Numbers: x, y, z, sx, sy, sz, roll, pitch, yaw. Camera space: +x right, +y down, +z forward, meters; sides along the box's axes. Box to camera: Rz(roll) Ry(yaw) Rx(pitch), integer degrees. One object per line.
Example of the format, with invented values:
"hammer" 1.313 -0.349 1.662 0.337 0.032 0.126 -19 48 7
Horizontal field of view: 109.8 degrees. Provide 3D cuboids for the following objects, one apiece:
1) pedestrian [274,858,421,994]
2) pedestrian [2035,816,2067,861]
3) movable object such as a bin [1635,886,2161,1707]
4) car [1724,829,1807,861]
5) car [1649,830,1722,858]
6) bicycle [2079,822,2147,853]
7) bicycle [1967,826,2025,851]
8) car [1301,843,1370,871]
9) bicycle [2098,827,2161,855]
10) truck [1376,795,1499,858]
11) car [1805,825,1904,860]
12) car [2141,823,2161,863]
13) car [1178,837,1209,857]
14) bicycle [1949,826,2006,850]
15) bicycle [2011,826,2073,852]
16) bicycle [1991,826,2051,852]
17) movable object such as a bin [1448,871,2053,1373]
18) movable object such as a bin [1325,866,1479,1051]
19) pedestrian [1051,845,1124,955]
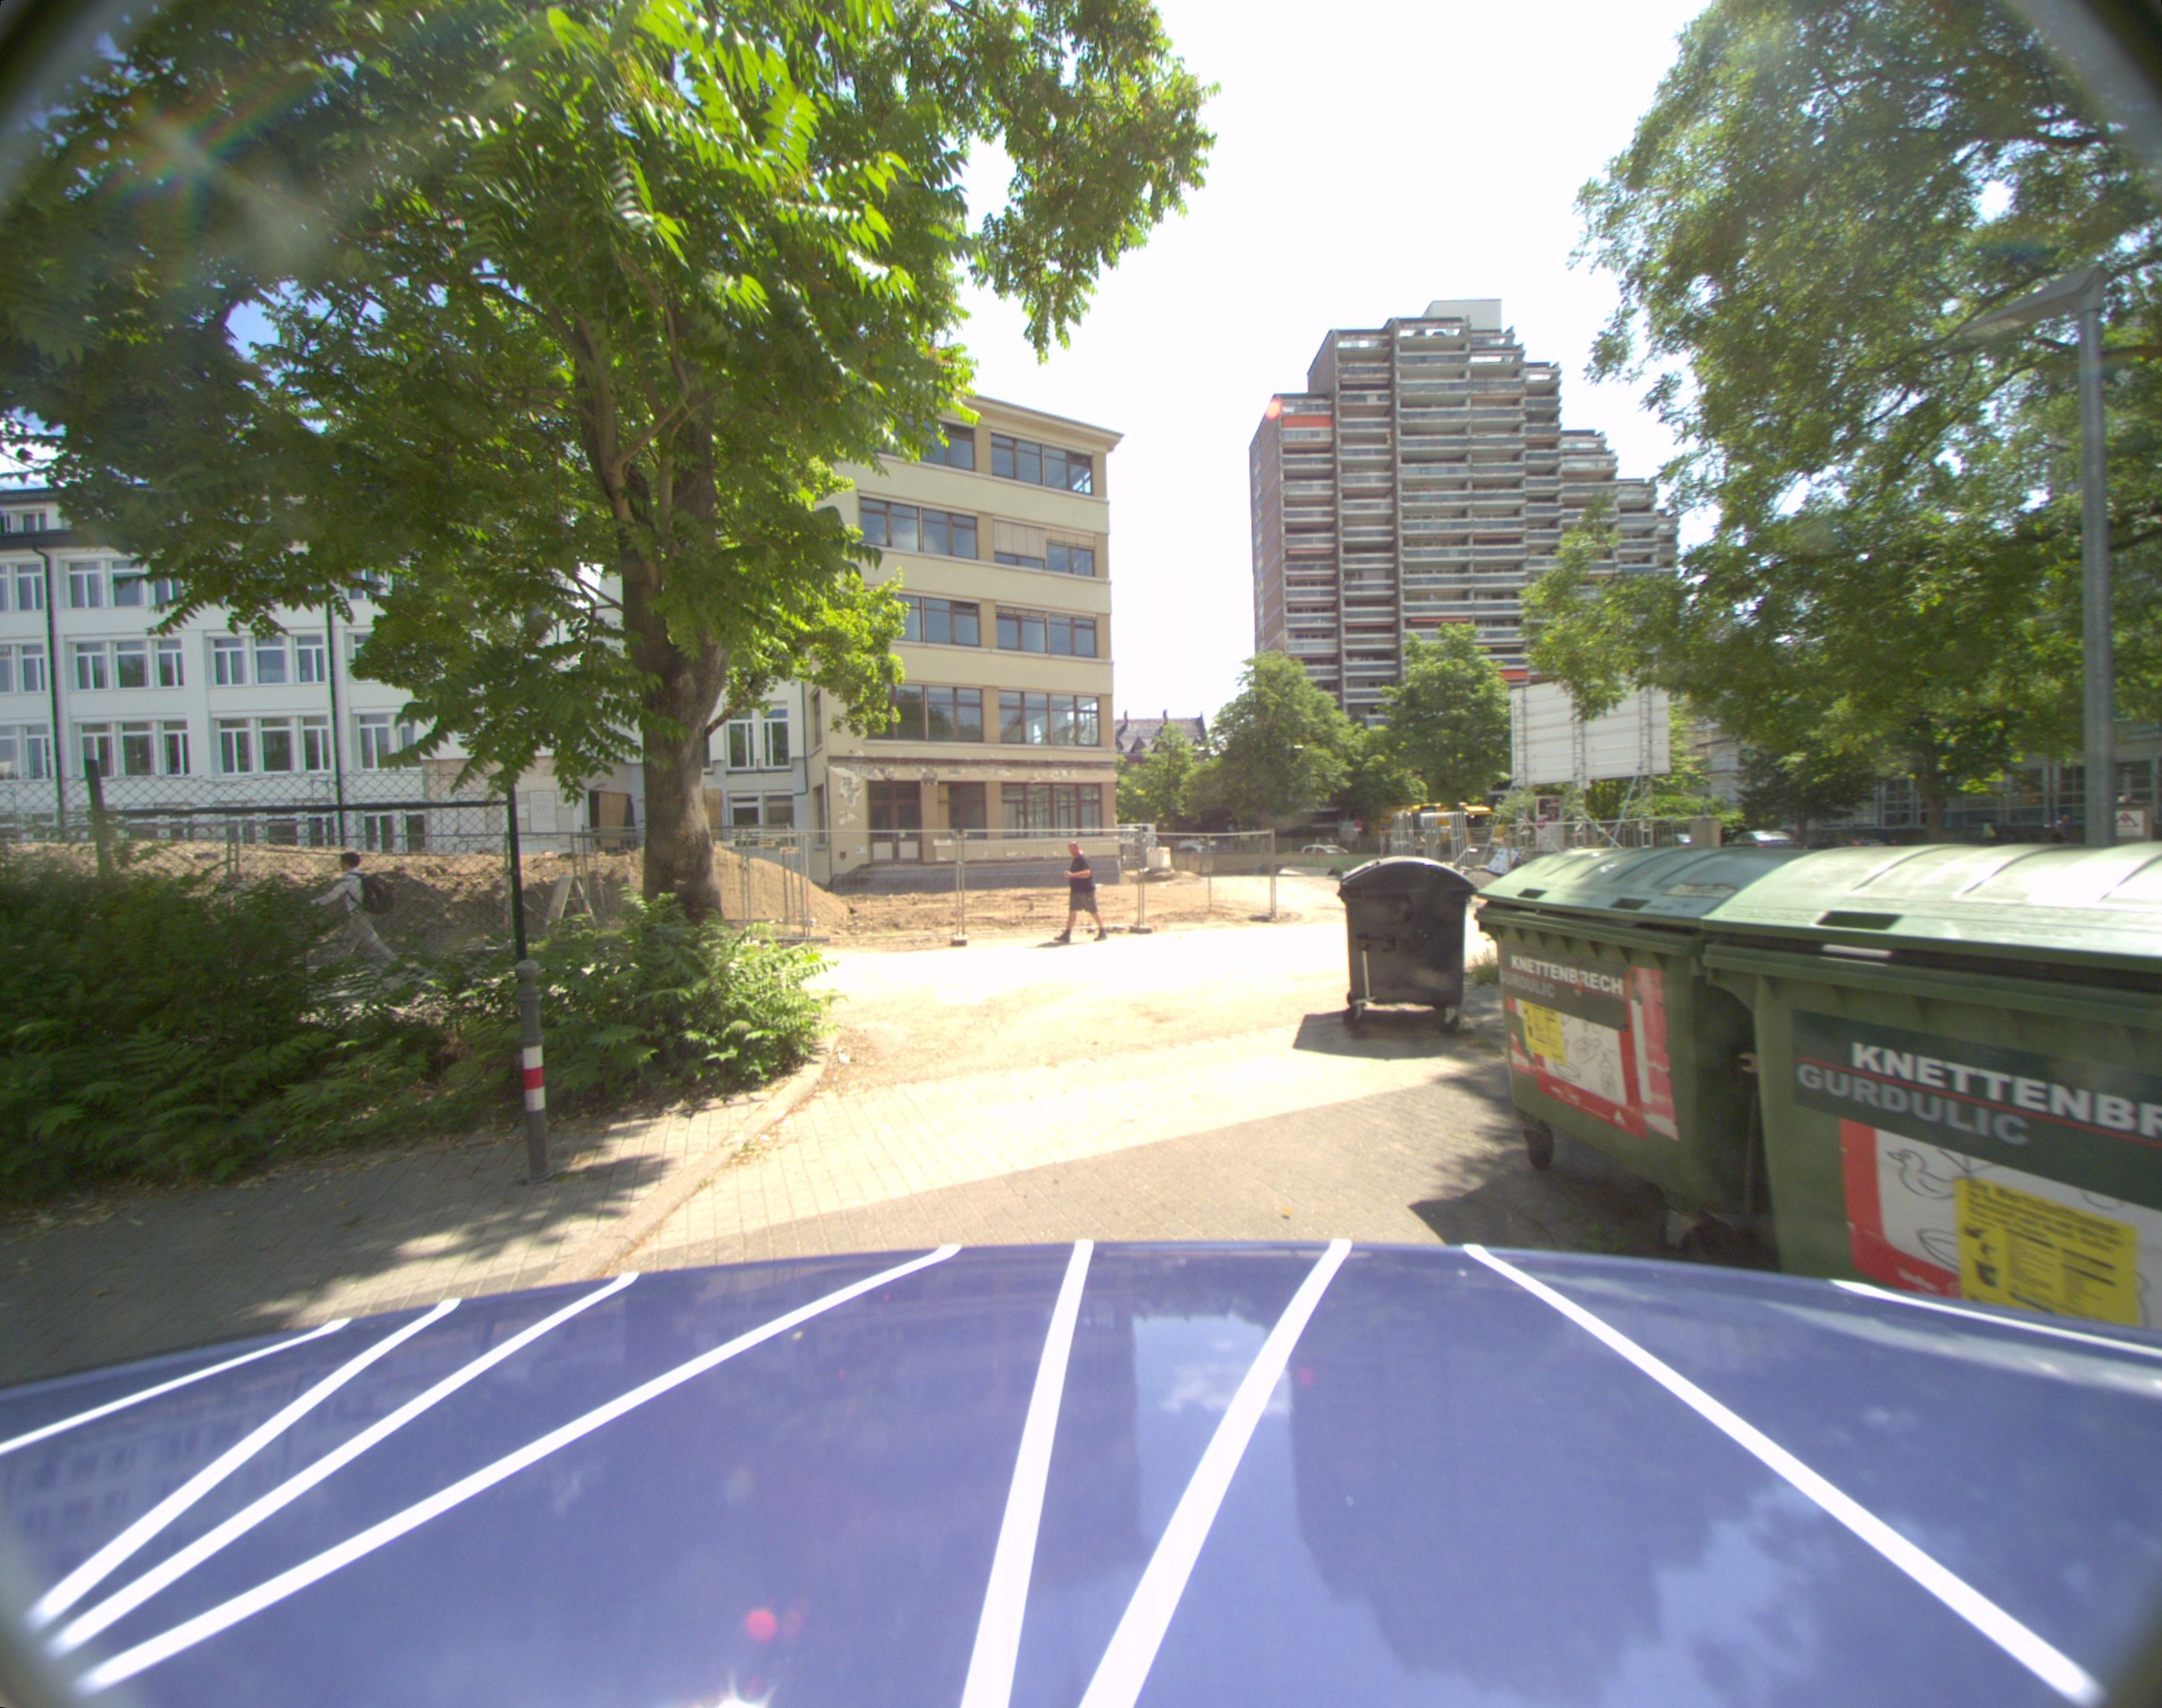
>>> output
"pedestrian" -9.882 0.929 10.289 1.080 1.719 0.876 -1 1 -10
"pedestrian" 40.490 -0.657 31.728 0.716 1.864 0.577 -2 2 -14
"movable object such as a bin" 2.281 0.858 1.653 1.096 1.471 1.359 -1 1 -10
"car" 33.721 -0.479 37.565 1.815 1.454 4.028 -1 1 23
"car" 32.178 -0.549 40.591 1.627 1.365 4.027 -1 1 16
"bicycle" 43.725 -0.683 32.201 1.942 1.230 0.568 -2 1 4
"bicycle" 43.265 -0.730 35.930 1.942 1.124 0.568 -1 1 4
"car" 13.998 0.155 41.904 1.624 1.431 3.576 -2 1 -23
"bicycle" 43.633 -0.549 31.535 1.942 1.124 0.568 -1 1 4
"truck" 25.079 -1.867 54.236 2.751 3.983 9.734 -2 1 -11
"car" 35.223 -0.525 34.721 1.647 1.508 3.580 -1 1 16
"car" 40.066 -0.391 26.285 1.750 1.461 4.202 -1 1 16
"car" 12.058 -0.812 81.421 1.995 2.002 4.007 -1 1 28
"bicycle" 43.265 -0.759 36.680 1.926 1.124 0.568 -1 1 4
"bicycle" 43.169 -0.688 34.155 1.942 1.124 0.568 -1 1 4
"bicycle" 43.221 -0.699 34.944 1.942 1.124 0.568 -1 1 4
"movable object such as a bin" 2.396 0.842 3.007 1.207 1.471 1.324 -1 1 -2
"movable object such as a bin" 2.774 0.819 6.586 1.113 1.386 1.162 -1 1 24
"pedestrian" 0.102 0.764 13.269 0.969 1.809 0.869 -2 1 -23
